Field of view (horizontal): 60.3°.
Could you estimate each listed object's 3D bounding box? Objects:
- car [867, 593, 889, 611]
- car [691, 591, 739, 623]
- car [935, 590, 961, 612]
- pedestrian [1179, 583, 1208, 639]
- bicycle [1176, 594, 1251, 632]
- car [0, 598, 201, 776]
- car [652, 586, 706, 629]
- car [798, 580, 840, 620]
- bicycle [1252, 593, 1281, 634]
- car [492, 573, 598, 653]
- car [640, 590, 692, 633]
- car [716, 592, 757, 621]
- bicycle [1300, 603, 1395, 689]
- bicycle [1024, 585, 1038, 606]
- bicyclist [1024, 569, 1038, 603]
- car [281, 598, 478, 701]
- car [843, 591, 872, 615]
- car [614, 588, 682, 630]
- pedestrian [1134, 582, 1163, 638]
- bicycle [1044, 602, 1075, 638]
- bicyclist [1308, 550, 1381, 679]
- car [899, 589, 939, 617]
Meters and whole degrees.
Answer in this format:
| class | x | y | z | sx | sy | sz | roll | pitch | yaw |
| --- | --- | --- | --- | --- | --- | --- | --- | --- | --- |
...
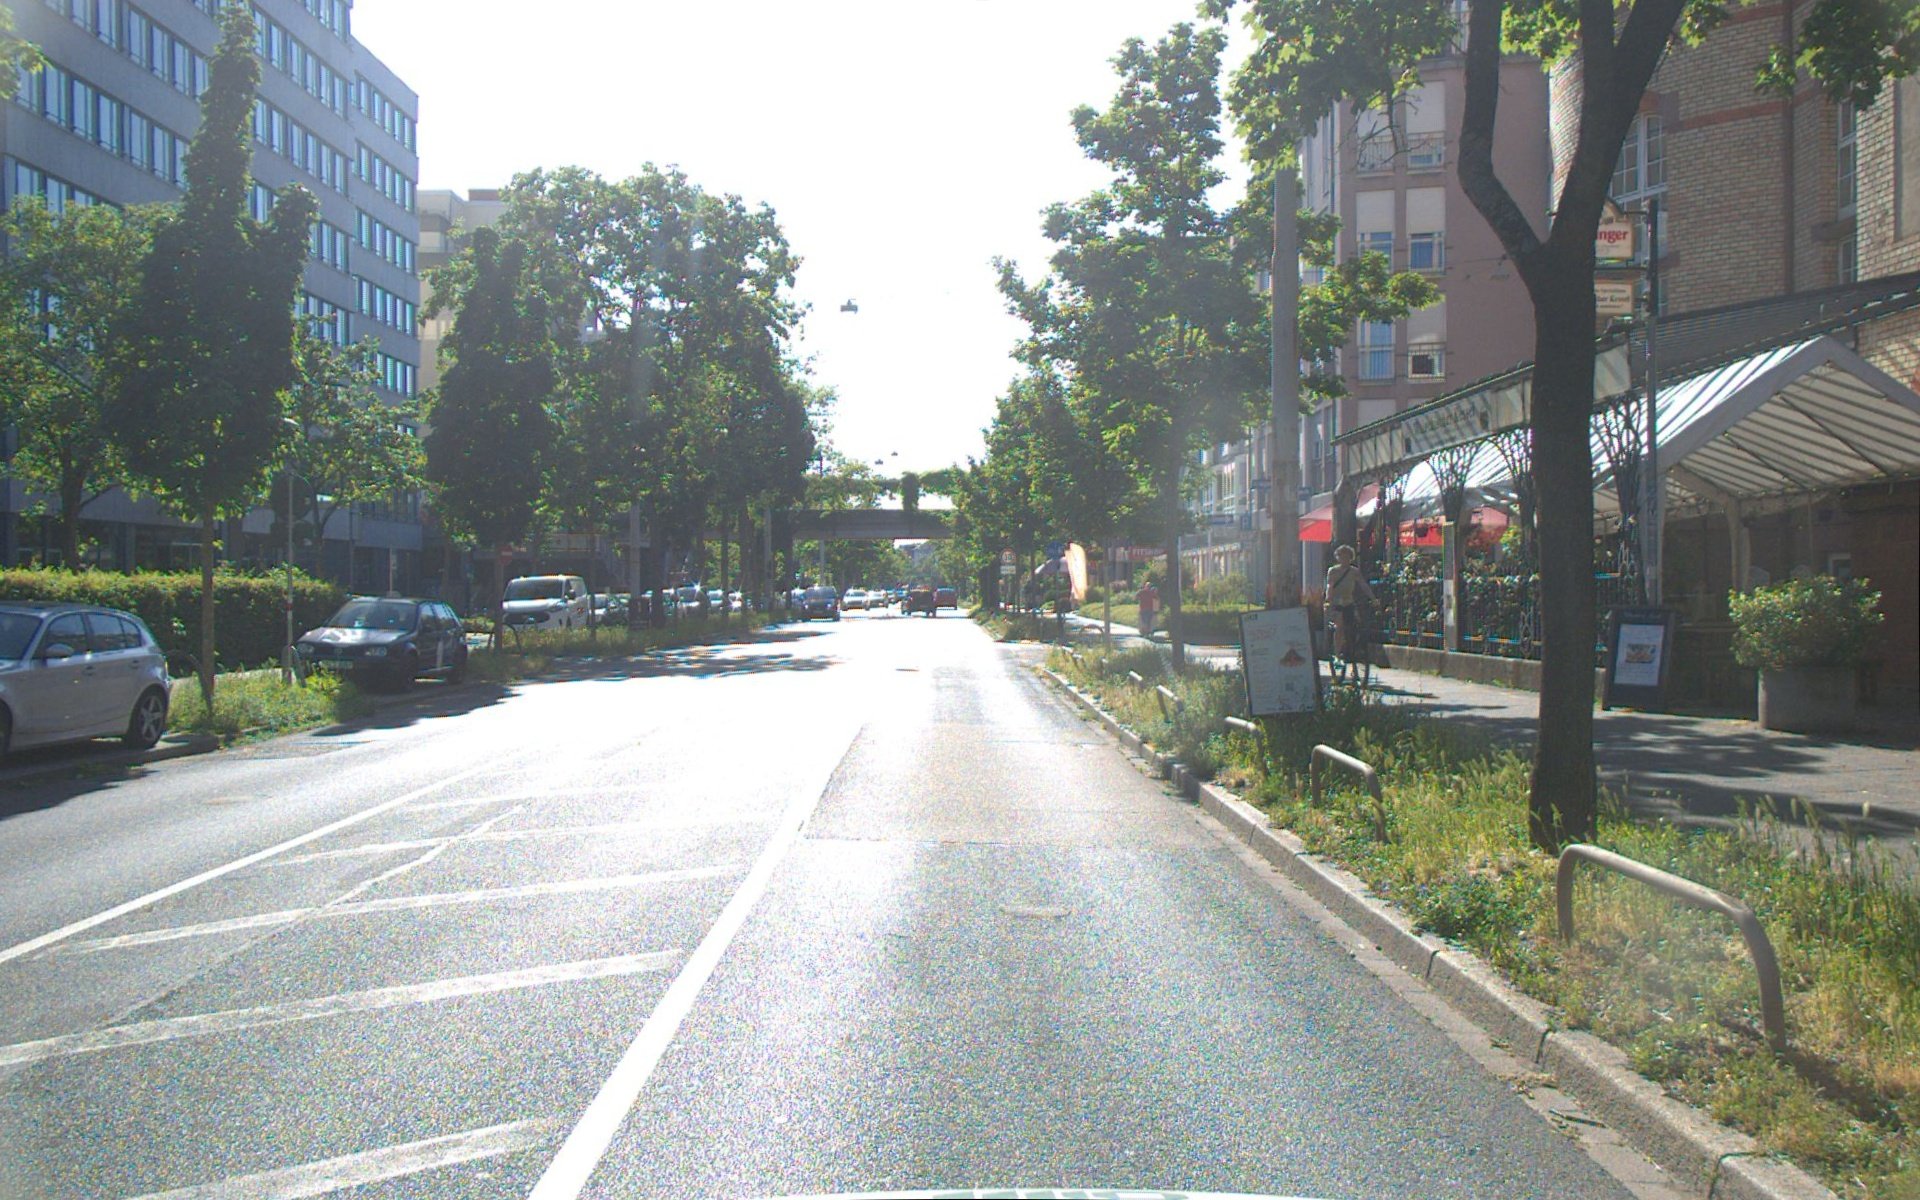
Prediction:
| class | x | y | z | sx | sy | sz | roll | pitch | yaw |
| --- | --- | --- | --- | --- | --- | --- | --- | --- | --- |
| car | -7.350 | 0.187 | 148.517 | 1.818 | 1.465 | 4.317 | -2 | 0 | -2 |
| car | -12.270 | 0.334 | 82.948 | 1.818 | 1.595 | 3.871 | 0 | 0 | 0 |
| car | -0.866 | 0.079 | 119.895 | 1.817 | 1.549 | 4.319 | 0 | 0 | 0 |
| pedestrian | 7.009 | 0.329 | 49.686 | 0.641 | 1.631 | 0.602 | -4 | 0 | -7 |
| bicycle | 7.663 | 0.388 | 50.120 | 2.150 | 1.045 | 0.687 | -2 | 2 | 1 |
| car | -8.885 | 0.739 | 15.293 | 1.653 | 1.407 | 4.192 | 3 | 0 | 2 |
| car | -12.701 | 0.302 | 74.918 | 1.818 | 1.882 | 4.560 | 0 | 0 | -2 |
| car | -7.137 | -0.021 | 83.899 | 1.818 | 1.857 | 4.608 | -2 | 0 | -2 |
| bicycle | 8.875 | 0.392 | 47.994 | 0.670 | 1.045 | 2.205 | -2 | 3 | 7 |
| car | -11.943 | 0.341 | 47.917 | 1.942 | 2.112 | 5.193 | -3 | 0 | -3 |
| car | -12.234 | 0.448 | 69.015 | 1.820 | 1.713 | 4.659 | 0 | 0 | -6 |
| car | -12.471 | 0.337 | 92.532 | 1.818 | 1.549 | 4.317 | 0 | 0 | -2 |
| bicycle | 4.982 | 0.575 | 21.406 | 0.671 | 1.045 | 2.095 | -1 | 0 | -2 |
| bicycle | 3.682 | -0.214 | 85.628 | 0.577 | 1.045 | 1.859 | -1 | 0 | -2 |
| bicyclist | 3.677 | -0.734 | 85.762 | 0.654 | 1.725 | 0.889 | 0 | 0 | -2 |
| car | -9.200 | 0.735 | 26.559 | 1.677 | 1.484 | 4.072 | 0 | 0 | 0 |
| car | -7.298 | 0.214 | 118.057 | 1.818 | 1.595 | 4.714 | -2 | 0 | -2 |
| car | -11.976 | 0.309 | 63.807 | 1.817 | 1.549 | 4.063 | 0 | 0 | 0 |
| pedestrian | 5.613 | 0.300 | 49.343 | 0.641 | 1.631 | 0.602 | -4 | 0 | -7 |
| bicycle | 3.134 | 0.622 | 52.031 | 0.578 | 1.084 | 2.024 | 0 | 1 | 15 |
| bicyclist | 4.970 | 0.181 | 21.409 | 0.686 | 1.627 | 0.954 | -1 | -1 | -2 |
| car | -2.485 | 0.163 | 99.700 | 1.948 | 1.628 | 4.133 | 0 | 1 | -8 |
